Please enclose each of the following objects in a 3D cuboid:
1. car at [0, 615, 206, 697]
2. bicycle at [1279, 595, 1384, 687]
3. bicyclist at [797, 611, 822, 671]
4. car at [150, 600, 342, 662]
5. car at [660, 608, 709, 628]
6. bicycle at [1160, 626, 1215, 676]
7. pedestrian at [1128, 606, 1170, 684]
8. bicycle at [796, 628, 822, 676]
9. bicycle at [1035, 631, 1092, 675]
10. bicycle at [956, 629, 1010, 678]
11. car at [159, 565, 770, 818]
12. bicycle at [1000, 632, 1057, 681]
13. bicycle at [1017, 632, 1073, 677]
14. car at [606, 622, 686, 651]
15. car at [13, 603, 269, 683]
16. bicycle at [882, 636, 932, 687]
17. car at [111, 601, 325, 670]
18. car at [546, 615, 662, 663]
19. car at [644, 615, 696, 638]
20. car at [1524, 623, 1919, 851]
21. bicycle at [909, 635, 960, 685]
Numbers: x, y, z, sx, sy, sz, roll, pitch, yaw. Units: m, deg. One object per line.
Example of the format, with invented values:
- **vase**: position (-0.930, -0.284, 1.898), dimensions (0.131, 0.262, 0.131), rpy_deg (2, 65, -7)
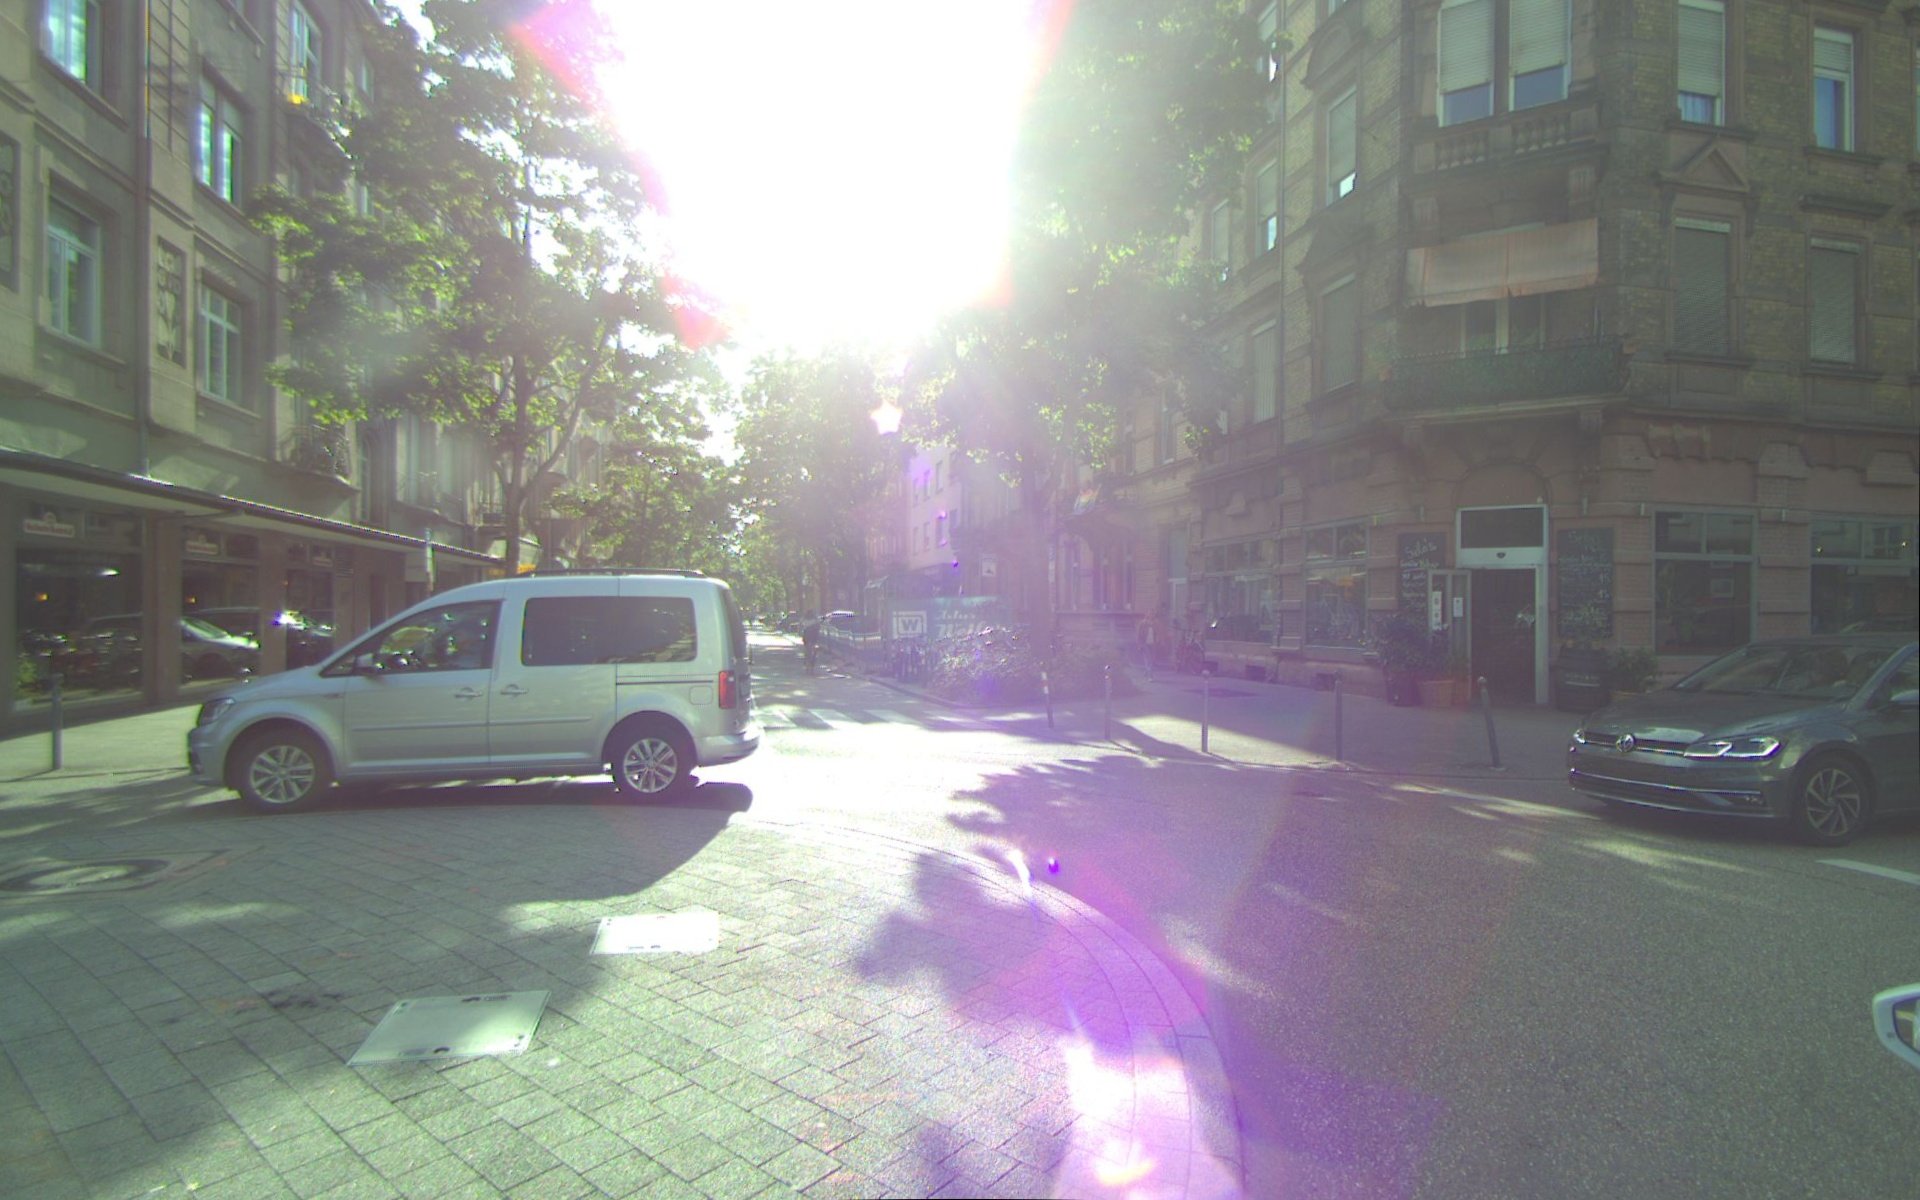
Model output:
- **car**: position (-17.427, 1.047, 19.636), dimensions (3.943, 1.449, 1.756), rpy_deg (0, 1, -23)
- **bicycle**: position (6.562, 0.698, 17.886), dimensions (0.548, 1.541, 2.156), rpy_deg (0, -1, -18)
- **bicyclist**: position (-4.211, 1.133, 28.141), dimensions (0.680, 1.608, 1.126), rpy_deg (0, 1, -8)
- **car**: position (-19.289, 0.796, 27.362), dimensions (3.943, 1.572, 1.756), rpy_deg (0, 1, -23)
- **car**: position (-21.466, 1.375, 78.252), dimensions (3.654, 1.492, 1.799), rpy_deg (0, 1, -16)
- **bicycle**: position (5.332, 1.177, 23.642), dimensions (0.519, 1.081, 1.778), rpy_deg (1, 0, -13)
- **pedestrian**: position (4.095, 0.958, 21.785), dimensions (0.604, 1.599, 0.809), rpy_deg (-3, 1, -8)
- **bicycle**: position (-4.220, 1.431, 28.248), dimensions (0.680, 1.215, 1.975), rpy_deg (0, 1, -7)
- **bicycle**: position (2.561, 1.298, 25.098), dimensions (0.582, 0.981, 2.068), rpy_deg (-1, 0, -18)
- **bicycle**: position (0.513, 1.227, 23.353), dimensions (0.582, 1.025, 2.068), rpy_deg (-1, 0, -18)
- **car**: position (-3.796, 0.689, 8.490), dimensions (4.252, 1.814, 1.832), rpy_deg (0, -2, -10)
- **bicycle**: position (1.585, 1.308, 23.671), dimensions (0.582, 1.025, 2.068), rpy_deg (-1, 0, -18)
- **bicycle**: position (2.036, 1.304, 24.374), dimensions (0.582, 0.981, 2.068), rpy_deg (-1, 0, -18)
- **car**: position (-13.925, 1.613, 44.748), dimensions (3.281, 1.270, 1.374), rpy_deg (0, -2, -13)
- **car**: position (-17.612, 0.873, 21.847), dimensions (3.943, 1.572, 1.756), rpy_deg (0, 1, -23)
- **bicycle**: position (-1.246, 1.393, 23.163), dimensions (0.582, 1.043, 2.133), rpy_deg (-1, 0, -18)
- **car**: position (-18.305, 0.831, 25.011), dimensions (3.943, 1.572, 1.756), rpy_deg (0, 1, -23)
- **car**: position (-11.184, 1.230, 31.737), dimensions (3.281, 1.462, 1.374), rpy_deg (0, -2, -13)
- **car**: position (-19.670, 1.793, 68.177), dimensions (3.281, 1.495, 1.403), rpy_deg (0, -2, -13)
- **car**: position (6.716, 0.932, 7.773), dimensions (3.931, 1.457, 1.793), rpy_deg (1, -2, -13)
- **bicycle**: position (-0.623, 1.370, 23.421), dimensions (0.582, 1.043, 2.068), rpy_deg (-1, 0, -18)
